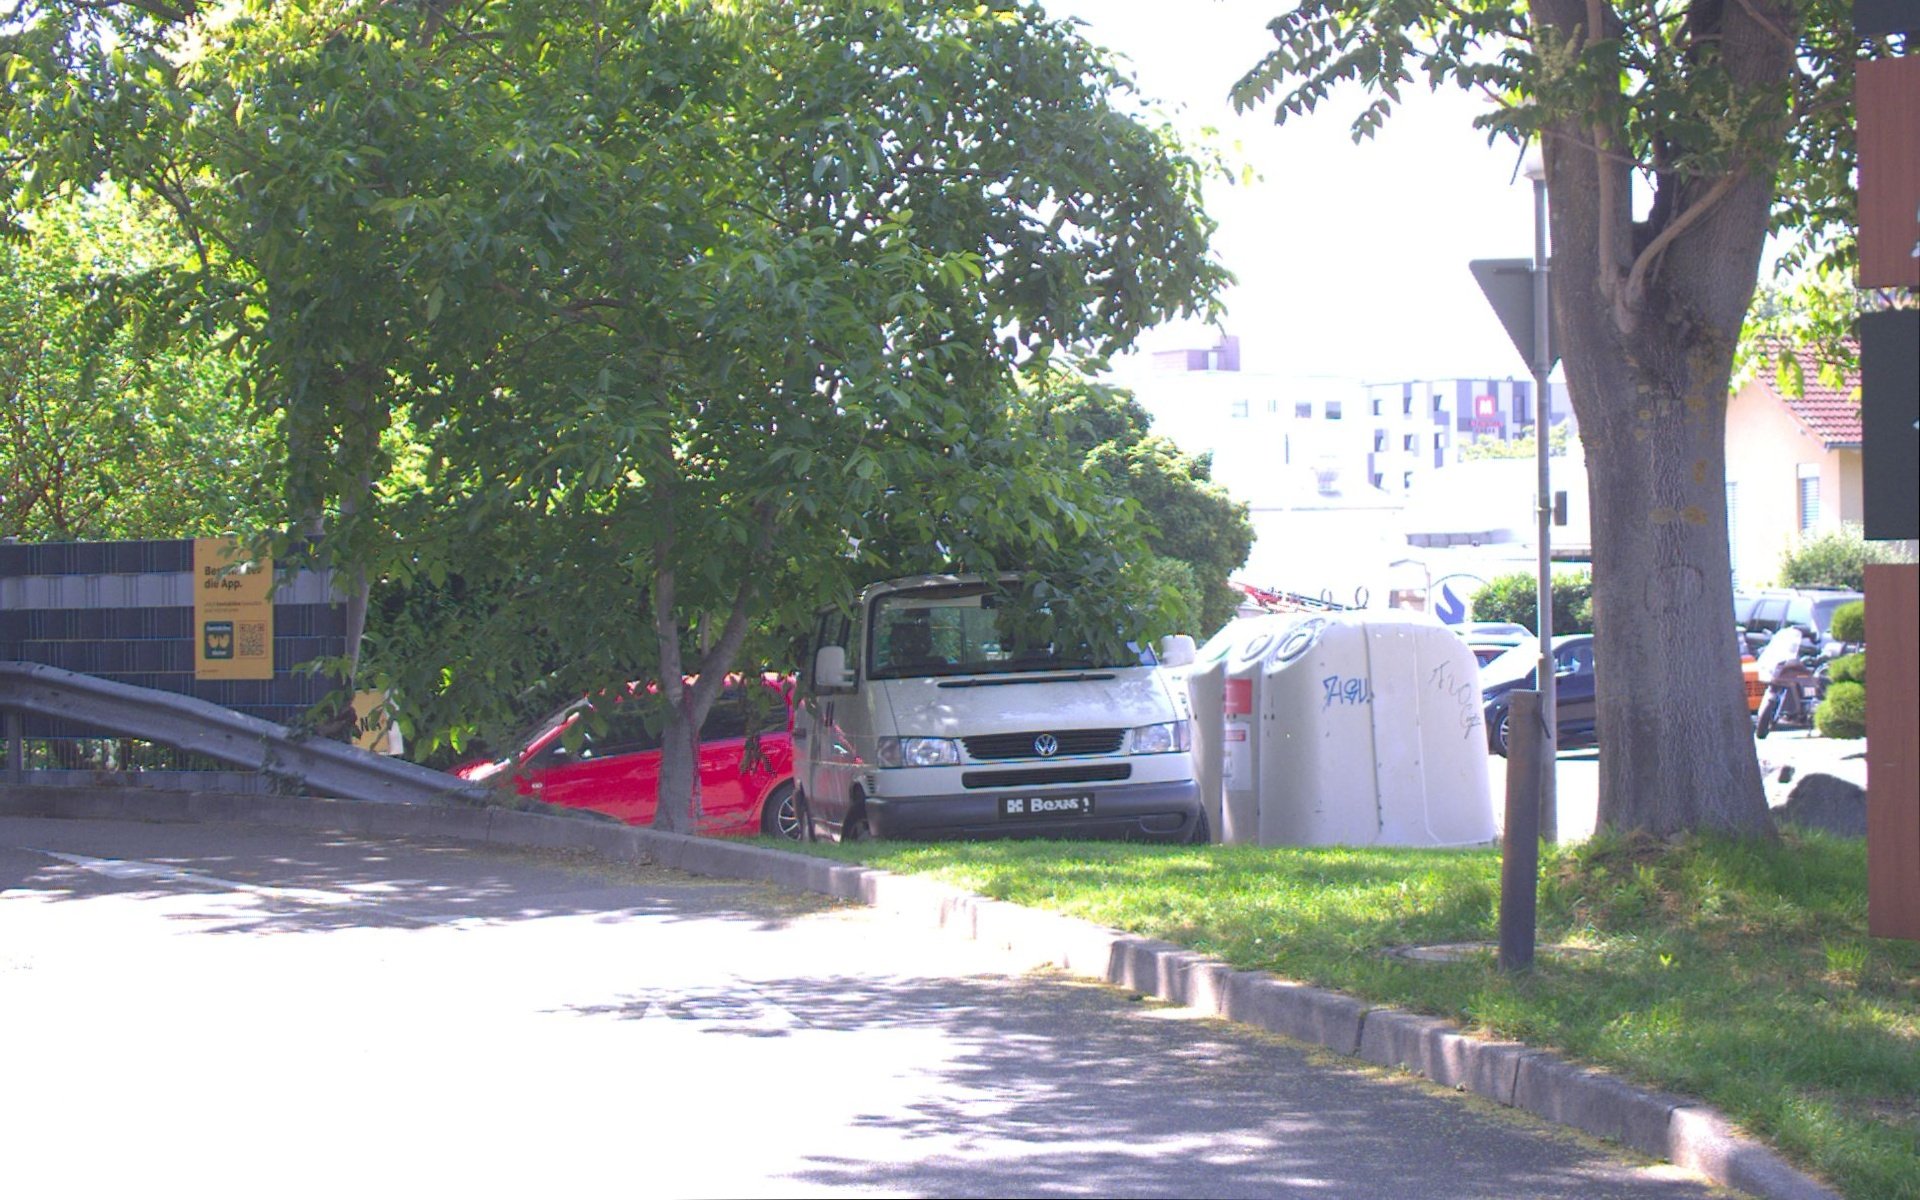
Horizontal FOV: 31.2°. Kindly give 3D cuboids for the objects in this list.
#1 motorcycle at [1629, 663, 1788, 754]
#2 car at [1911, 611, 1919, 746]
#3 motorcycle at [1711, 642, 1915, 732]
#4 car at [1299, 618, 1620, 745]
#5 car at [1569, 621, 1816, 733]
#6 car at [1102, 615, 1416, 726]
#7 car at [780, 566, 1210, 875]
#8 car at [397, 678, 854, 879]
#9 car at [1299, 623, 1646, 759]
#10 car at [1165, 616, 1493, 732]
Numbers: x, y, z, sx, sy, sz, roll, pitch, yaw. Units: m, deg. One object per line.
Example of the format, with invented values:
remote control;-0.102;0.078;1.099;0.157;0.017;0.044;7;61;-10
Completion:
motorcycle;9.795;1.418;45.010;1.868;1.155;0.790;1;0;-5
car;13.300;0.934;39.433;4.322;1.579;1.999;1;0;6
motorcycle;11.881;1.204;47.857;2.709;1.222;0.999;1;0;-25
car;6.993;1.141;48.176;3.986;1.720;2.000;1;-1;-25
car;10.951;1.131;51.674;1.993;1.579;4.001;1;0;-15
car;4.809;1.133;55.267;4.638;1.720;2.000;1;-1;-24
car;0.057;0.605;20.362;1.951;1.578;5.032;1;1;-6
car;-2.682;1.390;27.422;3.403;1.374;1.487;-1;2;-15
car;6.671;1.175;44.852;3.986;1.700;2.001;1;0;-17
car;5.688;1.137;53.003;4.638;1.720;2.000;1;-1;-24
